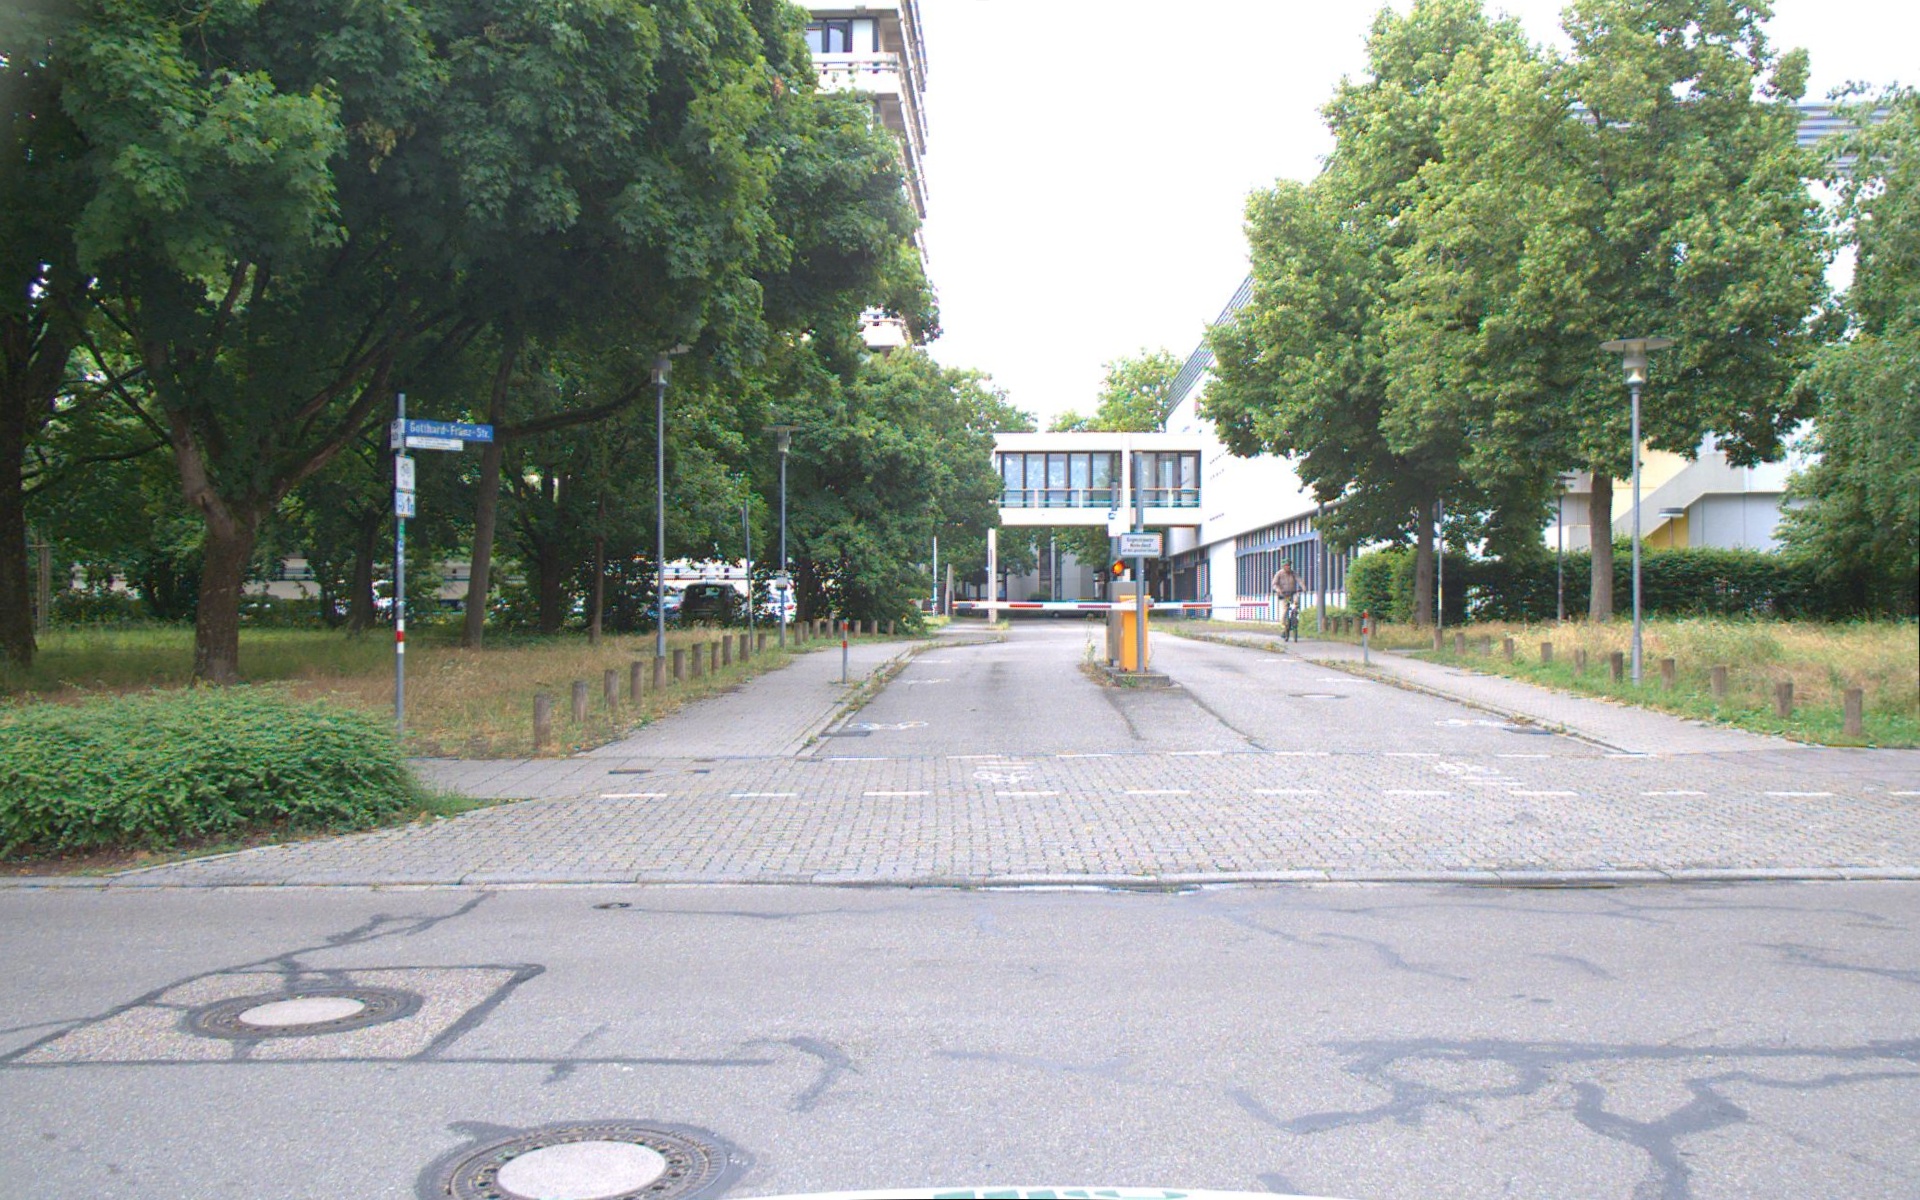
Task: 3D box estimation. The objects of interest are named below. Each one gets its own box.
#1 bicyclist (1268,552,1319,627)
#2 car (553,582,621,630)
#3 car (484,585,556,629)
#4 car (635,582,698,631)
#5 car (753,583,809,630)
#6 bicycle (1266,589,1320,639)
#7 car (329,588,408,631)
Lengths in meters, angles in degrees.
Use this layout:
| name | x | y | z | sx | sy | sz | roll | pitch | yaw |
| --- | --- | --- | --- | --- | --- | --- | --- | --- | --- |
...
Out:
| name | x | y | z | sx | sy | sz | roll | pitch | yaw |
| --- | --- | --- | --- | --- | --- | --- | --- | --- | --- |
| bicyclist | 7.561 | -0.245 | 37.539 | 0.996 | 1.673 | 0.923 | 0 | 0 | 1 |
| car | -14.559 | 0.270 | 64.772 | 1.954 | 1.758 | 3.997 | 0 | -2 | -3 |
| car | -17.224 | 0.272 | 64.863 | 1.954 | 1.646 | 3.997 | 0 | 0 | -3 |
| car | -11.513 | 0.275 | 65.076 | 1.954 | 1.825 | 3.997 | 0 | -2 | -3 |
| car | -7.011 | 0.279 | 65.101 | 1.954 | 1.793 | 3.997 | 0 | -1 | -3 |
| bicycle | 7.558 | 0.307 | 37.634 | 0.848 | 1.093 | 2.142 | 0 | 1 | 2 |
| car | -23.287 | 0.371 | 65.277 | 1.879 | 1.646 | 3.997 | 0 | 0 | -3 |
